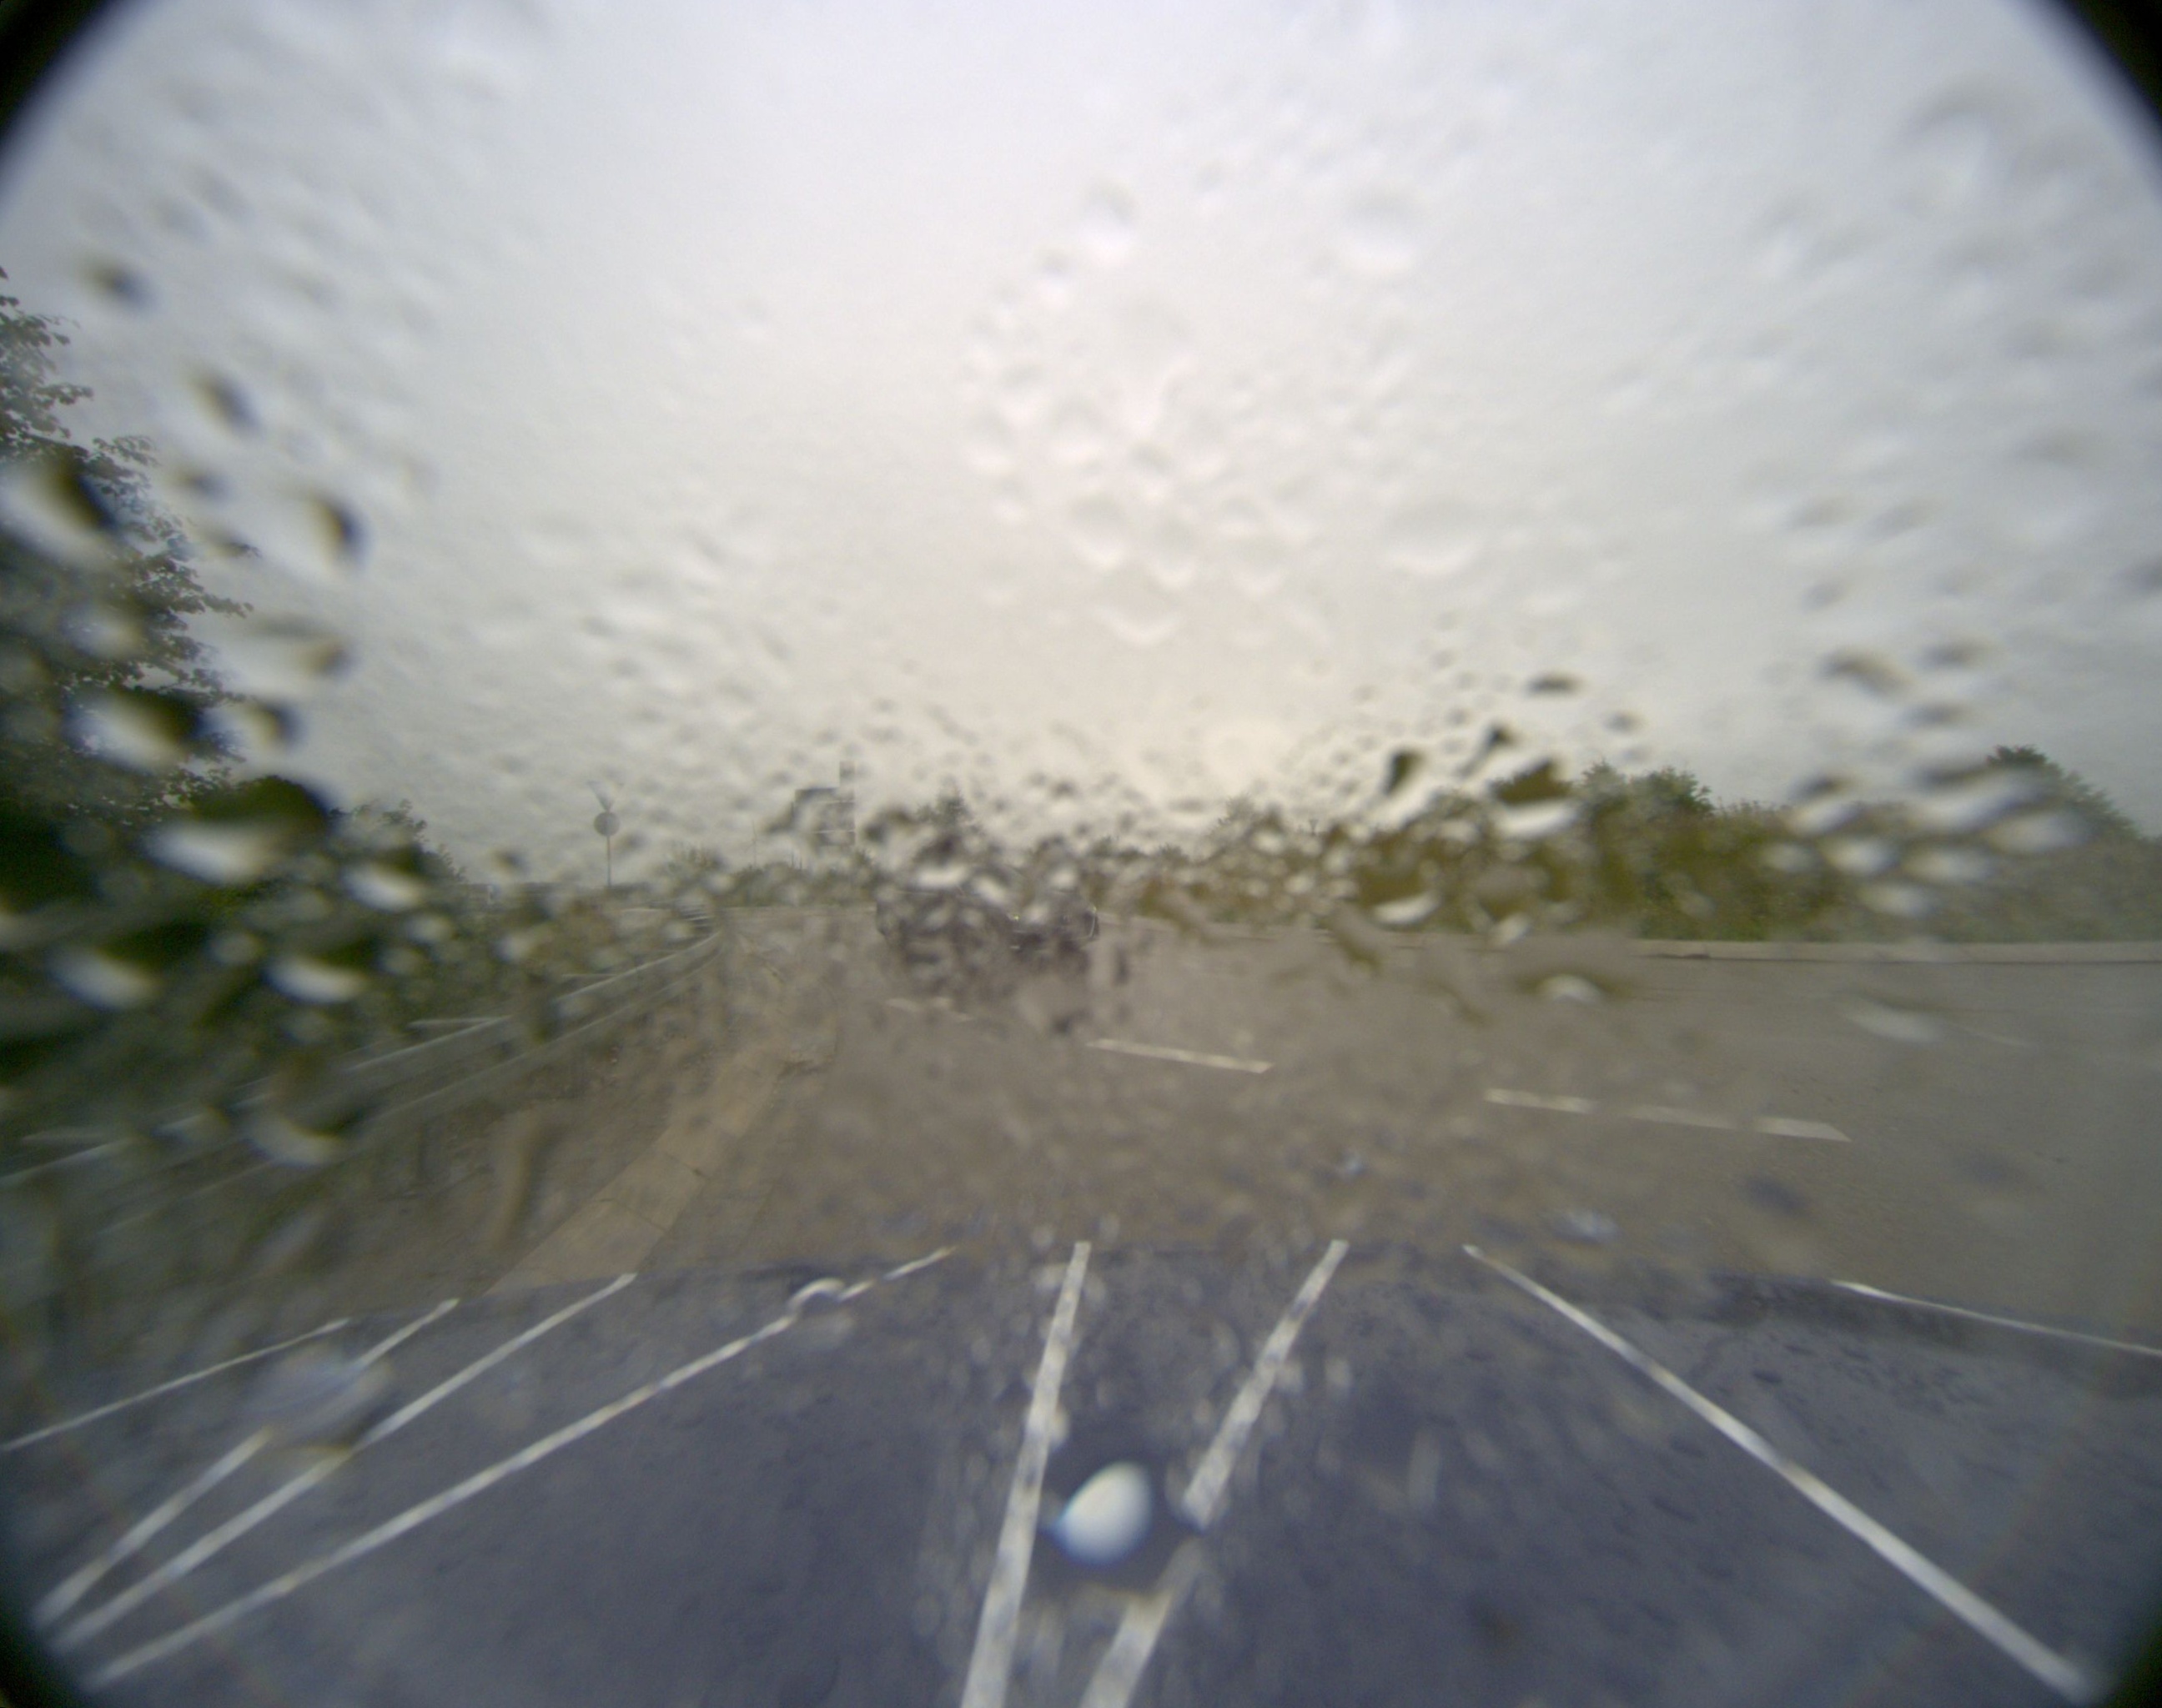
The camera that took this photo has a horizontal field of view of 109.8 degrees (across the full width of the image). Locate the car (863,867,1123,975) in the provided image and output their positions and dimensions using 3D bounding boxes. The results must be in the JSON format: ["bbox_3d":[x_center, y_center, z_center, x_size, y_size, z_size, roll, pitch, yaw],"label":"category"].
[{"bbox_3d":[-1.621,0.970,12.431,1.914,1.361,4.553,-2,0,-41],"label":"car"}]
